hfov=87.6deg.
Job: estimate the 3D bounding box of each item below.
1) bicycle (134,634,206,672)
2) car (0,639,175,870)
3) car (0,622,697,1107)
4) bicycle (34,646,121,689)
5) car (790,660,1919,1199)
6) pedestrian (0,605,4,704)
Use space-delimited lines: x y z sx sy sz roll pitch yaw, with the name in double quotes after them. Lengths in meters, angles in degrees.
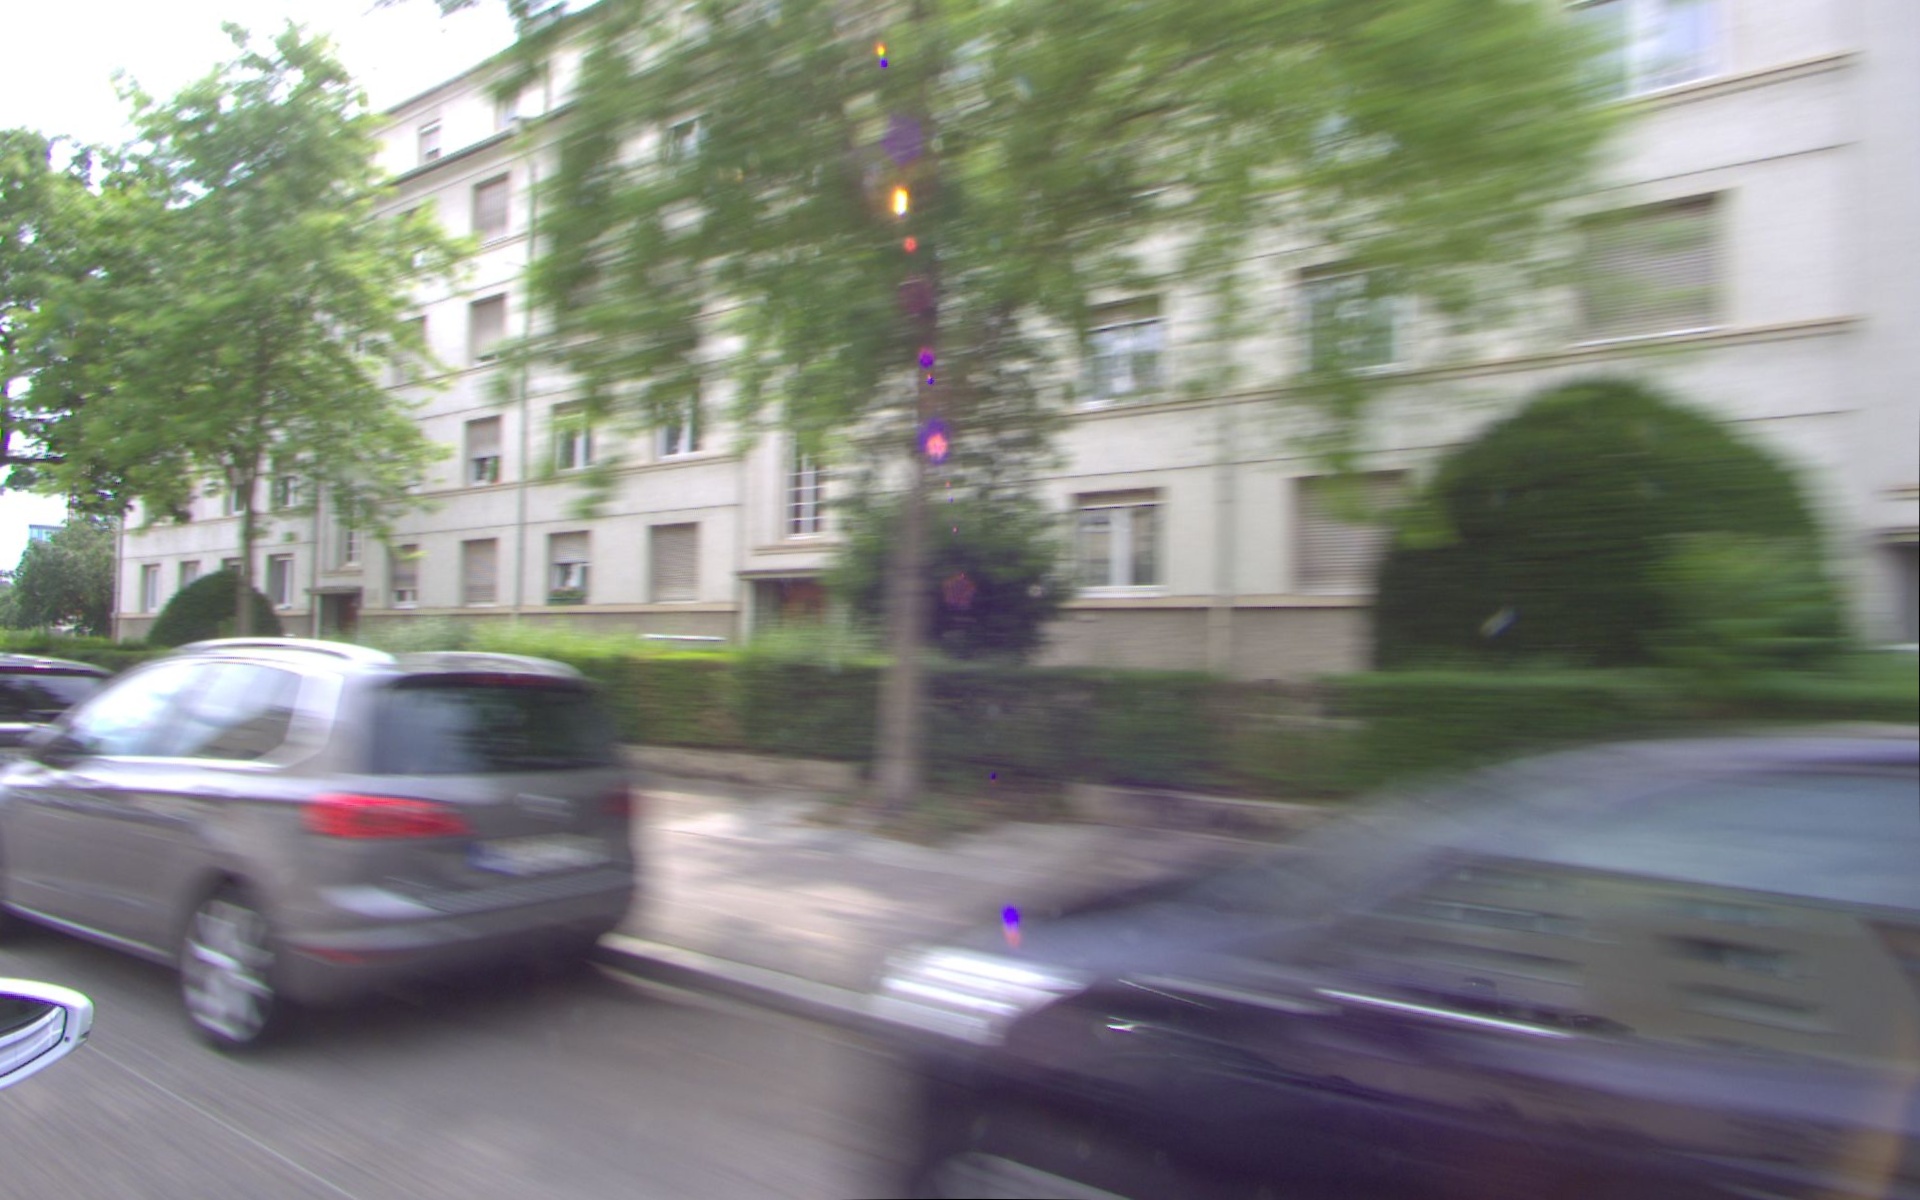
-20.567 1.381 26.104 0.505 0.928 1.386 1 -2 20 "bicycle"
-8.023 1.021 7.661 4.325 1.487 1.617 0 -4 30 "car"
-3.536 0.982 5.163 4.222 1.601 1.659 0 -5 30 "car"
-19.893 1.512 22.602 0.505 0.928 1.386 1 -2 20 "bicycle"
1.683 0.943 1.986 3.832 1.488 1.657 1 -2 32 "car"
-18.256 1.015 18.598 0.515 1.851 0.523 0 -1 22 "pedestrian"
